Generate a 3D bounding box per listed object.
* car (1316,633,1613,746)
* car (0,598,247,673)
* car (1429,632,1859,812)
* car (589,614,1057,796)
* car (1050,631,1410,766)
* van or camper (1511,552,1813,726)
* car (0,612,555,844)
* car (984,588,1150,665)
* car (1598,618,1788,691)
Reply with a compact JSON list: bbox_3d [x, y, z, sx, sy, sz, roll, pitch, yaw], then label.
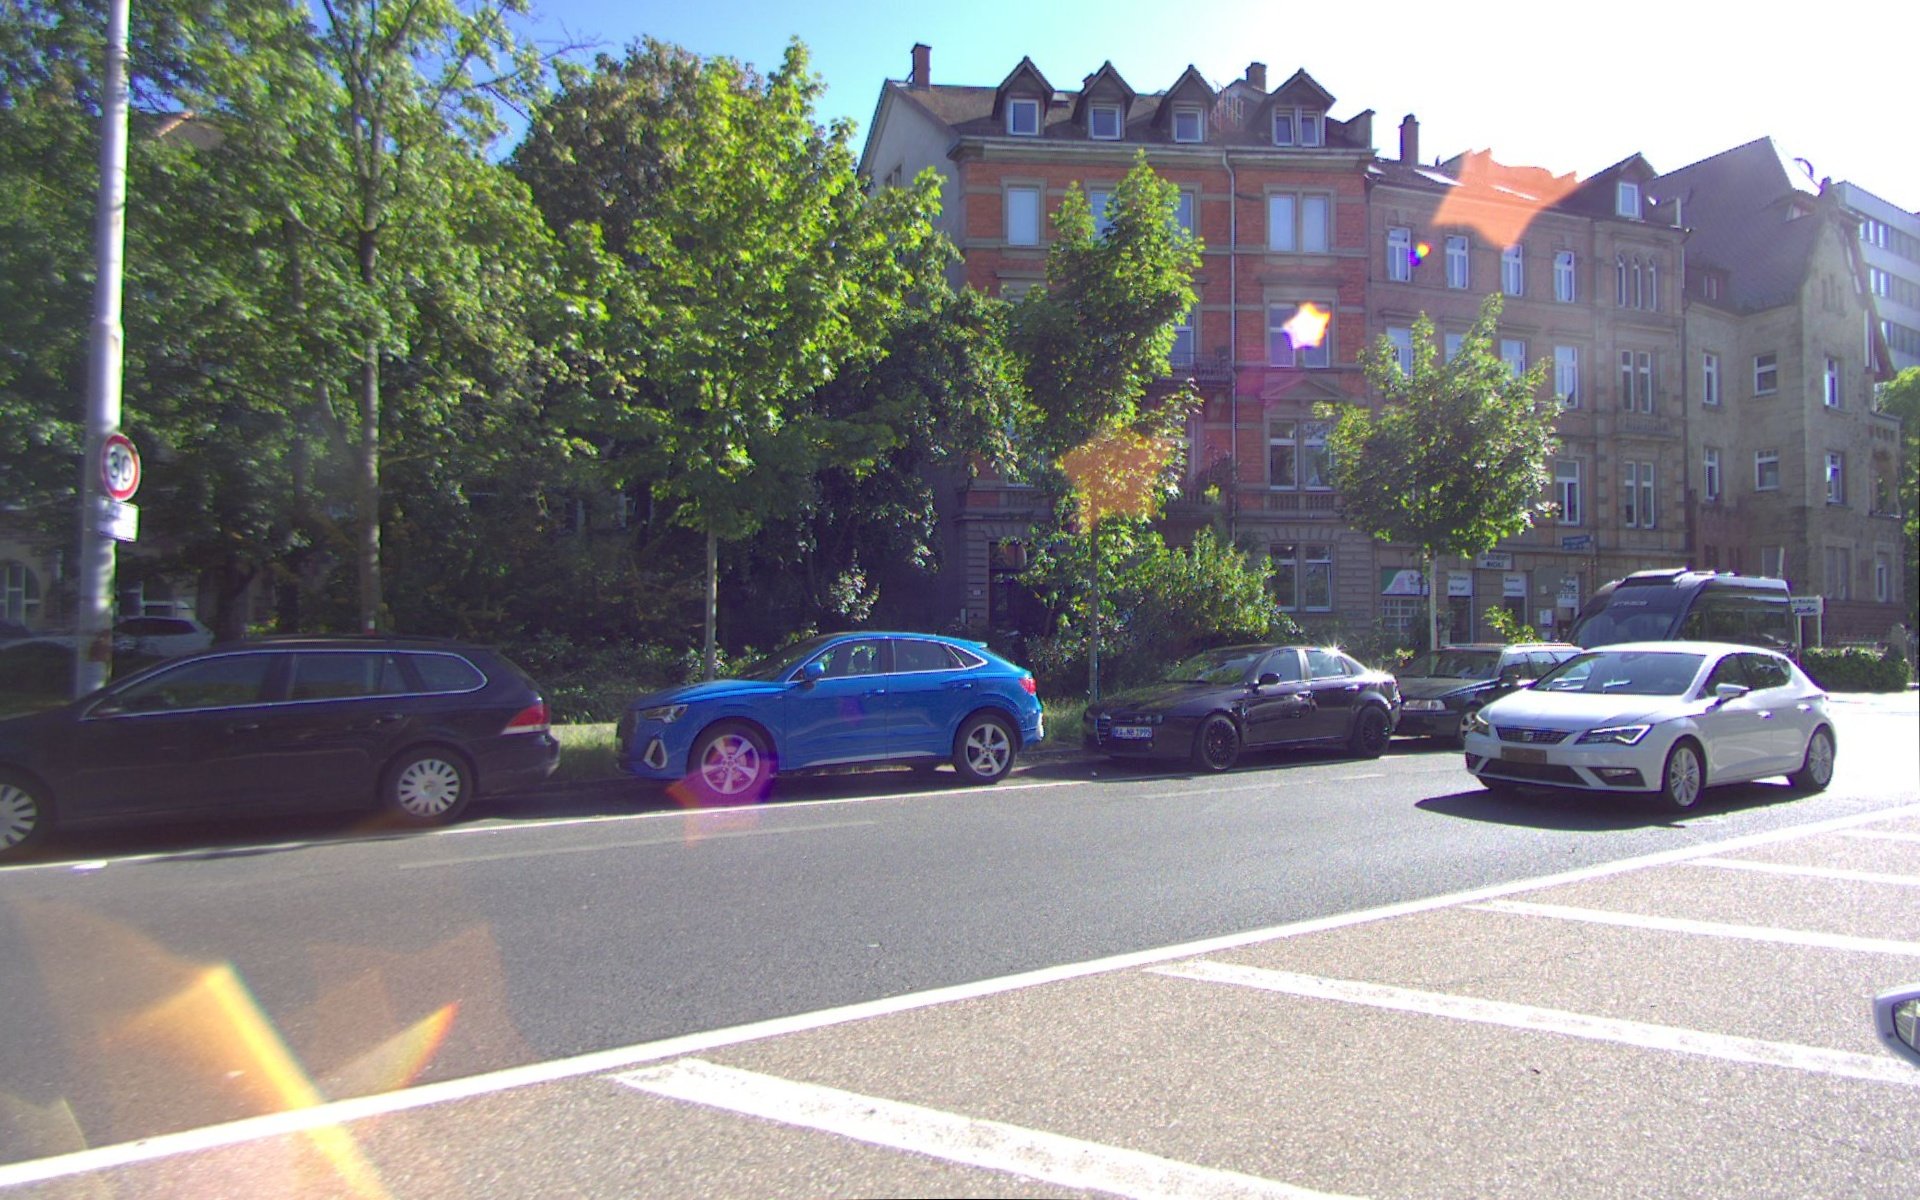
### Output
[{"bbox_3d":[7.609,1.269,15.045,4.607,1.475,1.686,2,-4,-30],"label":"car"},{"bbox_3d":[-18.402,0.846,22.160,1.564,1.447,4.182,-2,-4,20],"label":"car"},{"bbox_3d":[6.820,1.056,9.951,4.175,1.438,1.910,2,-2,-30],"label":"car"},{"bbox_3d":[-1.362,1.005,10.445,4.500,1.558,1.774,2,-4,-28],"label":"car"},{"bbox_3d":[3.419,1.148,12.546,4.352,1.431,1.773,2,-4,-30],"label":"car"},{"bbox_3d":[13.014,0.713,18.525,6.015,2.775,2.206,2,-2,-30],"label":"van or camper"},{"bbox_3d":[-5.581,0.916,7.895,4.226,1.501,1.582,3,-4,-33],"label":"car"},{"bbox_3d":[2.951,0.774,28.250,4.367,1.938,1.865,2,-3,-5],"label":"car"},{"bbox_3d":[20.762,1.489,28.708,4.068,1.693,1.997,2,2,28],"label":"car"}]
